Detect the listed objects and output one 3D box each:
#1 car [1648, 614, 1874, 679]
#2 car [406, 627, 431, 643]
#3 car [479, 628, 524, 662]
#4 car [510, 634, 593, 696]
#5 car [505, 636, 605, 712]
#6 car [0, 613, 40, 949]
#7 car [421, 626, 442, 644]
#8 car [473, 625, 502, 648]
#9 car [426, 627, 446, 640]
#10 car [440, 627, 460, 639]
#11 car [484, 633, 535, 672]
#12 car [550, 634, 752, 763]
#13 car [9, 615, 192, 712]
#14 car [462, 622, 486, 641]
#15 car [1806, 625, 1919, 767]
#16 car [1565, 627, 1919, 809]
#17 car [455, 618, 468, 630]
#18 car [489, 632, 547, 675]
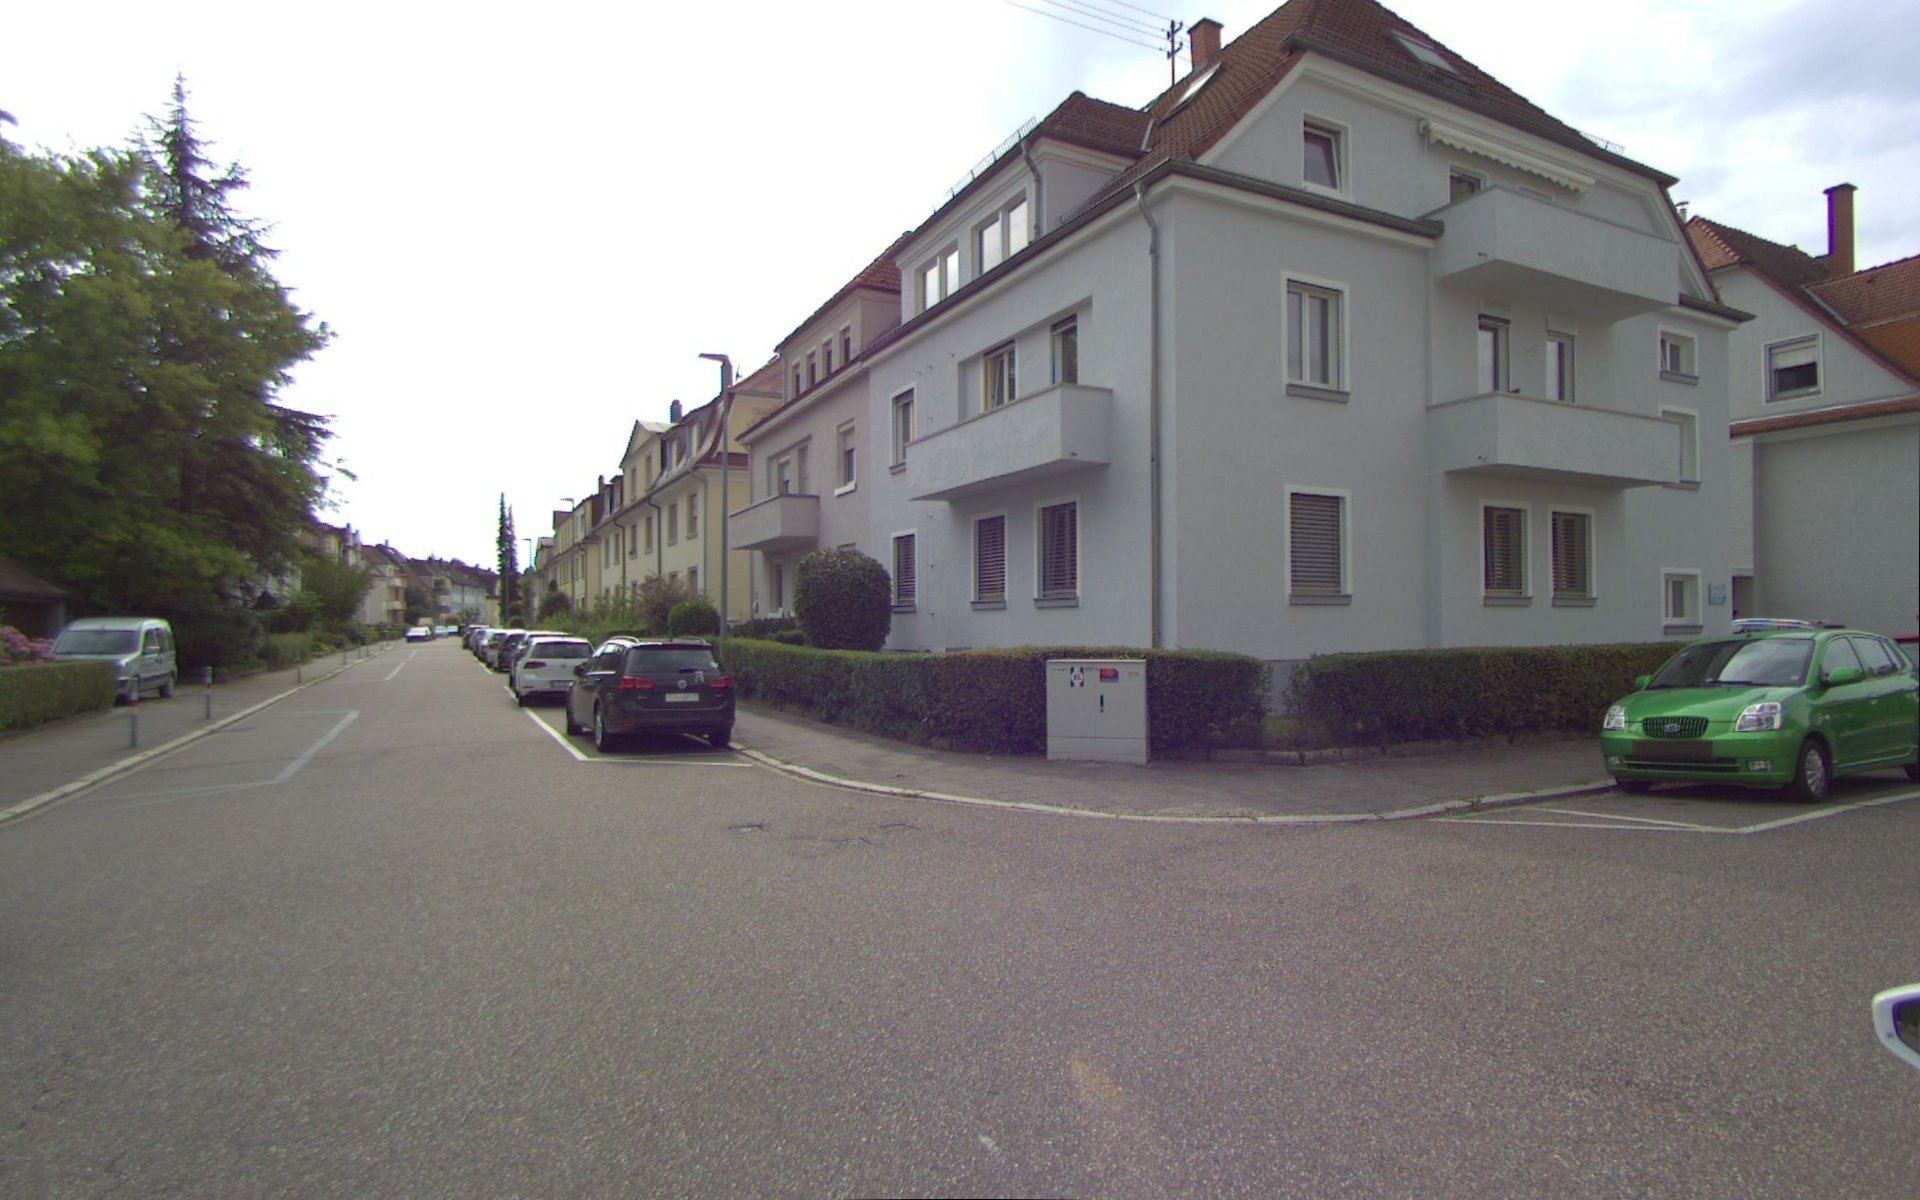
[{"bbox_3d":[19.893,1.105,25.125,1.974,1.483,3.973,1,-2,-27],"label":"car"},{"bbox_3d":[-56.813,3.649,105.481,1.972,1.661,3.977,0,-1,-24],"label":"car"},{"bbox_3d":[-21.638,2.089,47.304,1.835,1.491,4.148,0,-1,-26],"label":"car"},{"bbox_3d":[-11.216,1.699,27.412,1.835,1.491,4.148,0,-1,-26],"label":"car"},{"bbox_3d":[-9.257,1.595,22.767,1.835,1.491,4.148,0,-1,-26],"label":"car"},{"bbox_3d":[-6.044,0.838,3.345,3.986,1.540,1.812,-1,-2,-24],"label":"car"},{"bbox_3d":[-61.254,4.079,116.490,1.973,2.040,3.975,0,-1,-25],"label":"car"},{"bbox_3d":[-34.293,2.606,72.810,1.835,1.599,4.148,0,-1,-26],"label":"car"},{"bbox_3d":[-68.739,4.376,131.778,1.972,1.661,3.977,0,-1,-24],"label":"car"},{"bbox_3d":[-73.483,4.725,144.853,1.969,1.557,3.984,-1,-1,-19],"label":"car"},{"bbox_3d":[-19.030,2.171,42.343,1.835,1.491,4.148,0,-1,-26],"label":"car"},{"bbox_3d":[-4.506,1.253,14.236,1.838,1.491,4.141,1,-1,-31],"label":"car"},{"bbox_3d":[-18.145,1.266,21.450,1.973,1.862,3.974,0,-1,-26],"label":"car"},{"bbox_3d":[-43.429,2.791,89.692,1.836,1.599,4.146,0,-1,-27],"label":"car"},{"bbox_3d":[11.685,1.051,11.672,3.439,1.515,1.639,1,-5,-29],"label":"car"},{"bbox_3d":[7.649,1.033,9.610,3.439,1.440,1.639,1,-5,-29],"label":"car"},{"bbox_3d":[-91.009,4.300,183.490,1.972,2.152,3.977,0,-1,-24],"label":"car"},{"bbox_3d":[-16.613,1.953,37.663,1.835,1.491,4.148,0,-1,-26],"label":"car"}]
